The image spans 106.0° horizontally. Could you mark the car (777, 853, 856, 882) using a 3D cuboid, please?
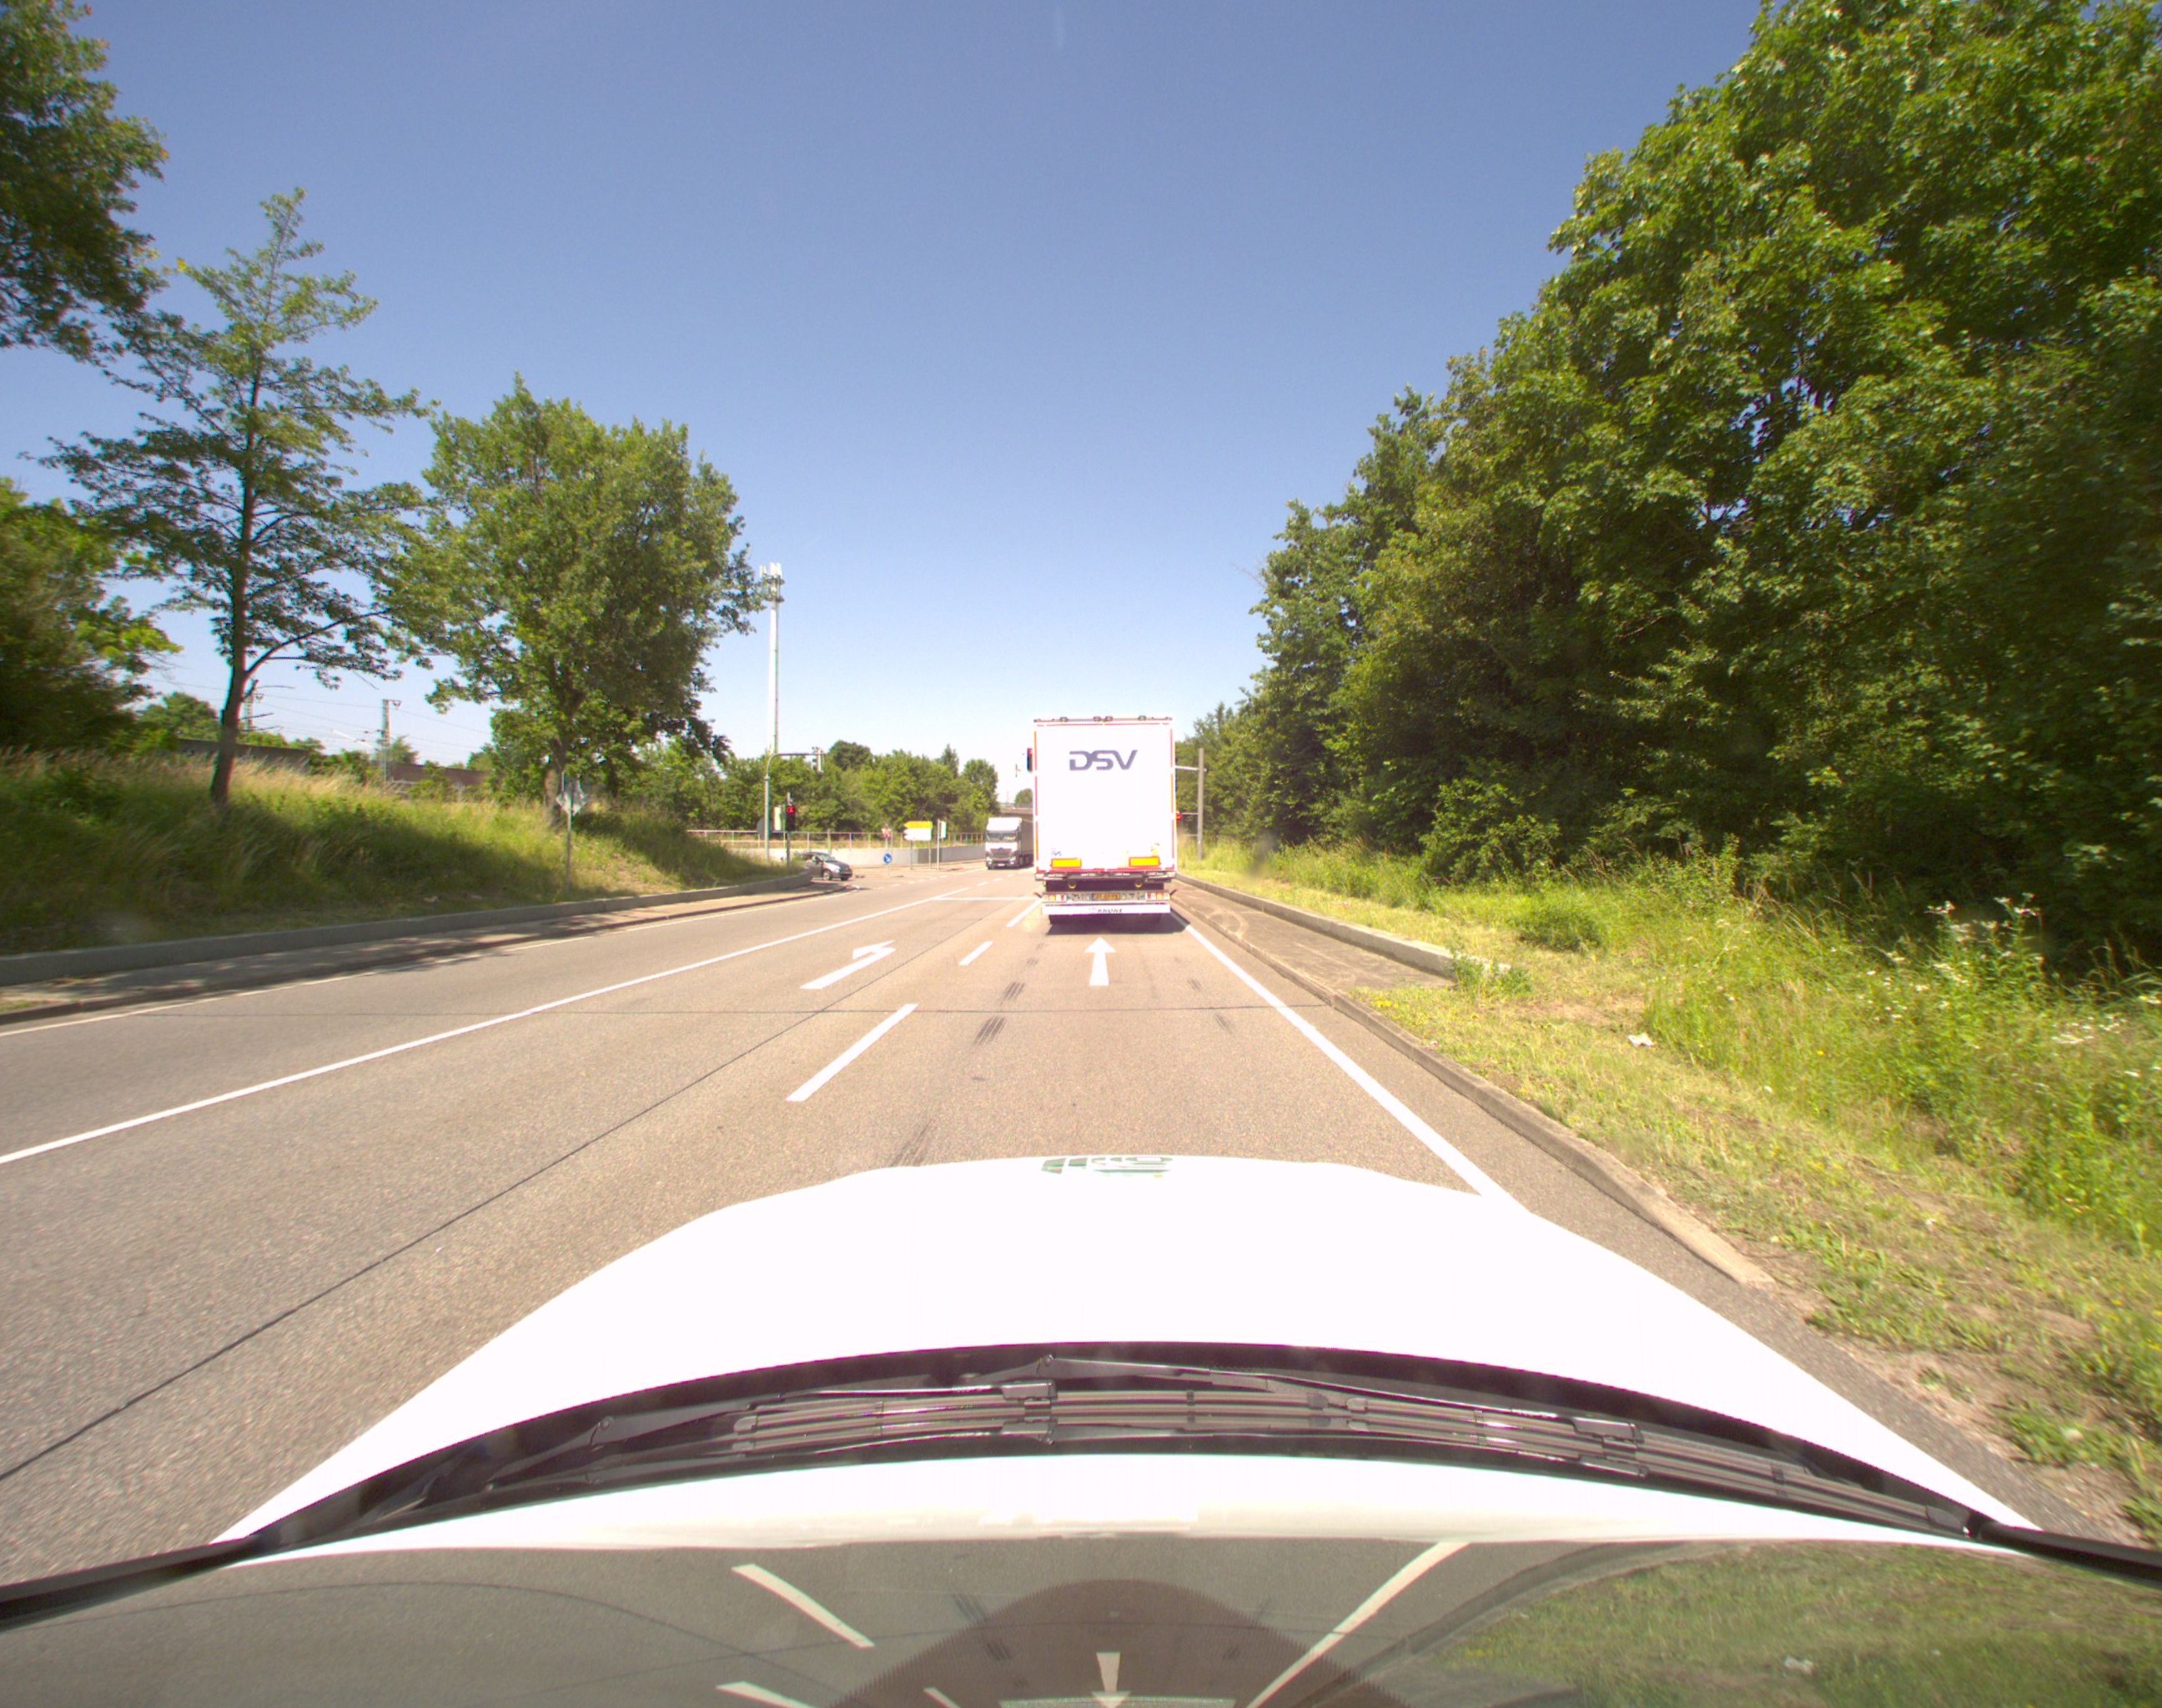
[{"bbox_3d":[-13.769,0.707,42.430,3.563,1.469,1.598,-1,0,13],"label":"car"}]

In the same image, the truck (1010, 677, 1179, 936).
[{"bbox_3d":[0.222,-0.867,19.423,2.941,4.568,9.860,-1,0,0],"label":"truck"}]

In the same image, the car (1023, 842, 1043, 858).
[{"bbox_3d":[-5.005,-0.449,85.067,1.740,1.626,3.704,-1,1,1],"label":"car"}]

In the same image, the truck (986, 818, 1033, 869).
[{"bbox_3d":[-5.766,-0.886,67.840,2.344,3.749,12.631,-1,1,2],"label":"truck"}]

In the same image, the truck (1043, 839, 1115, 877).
[{"bbox_3d":[-0.042,0.247,56.894,2.682,2.499,6.467,0,0,22],"label":"truck"}]
